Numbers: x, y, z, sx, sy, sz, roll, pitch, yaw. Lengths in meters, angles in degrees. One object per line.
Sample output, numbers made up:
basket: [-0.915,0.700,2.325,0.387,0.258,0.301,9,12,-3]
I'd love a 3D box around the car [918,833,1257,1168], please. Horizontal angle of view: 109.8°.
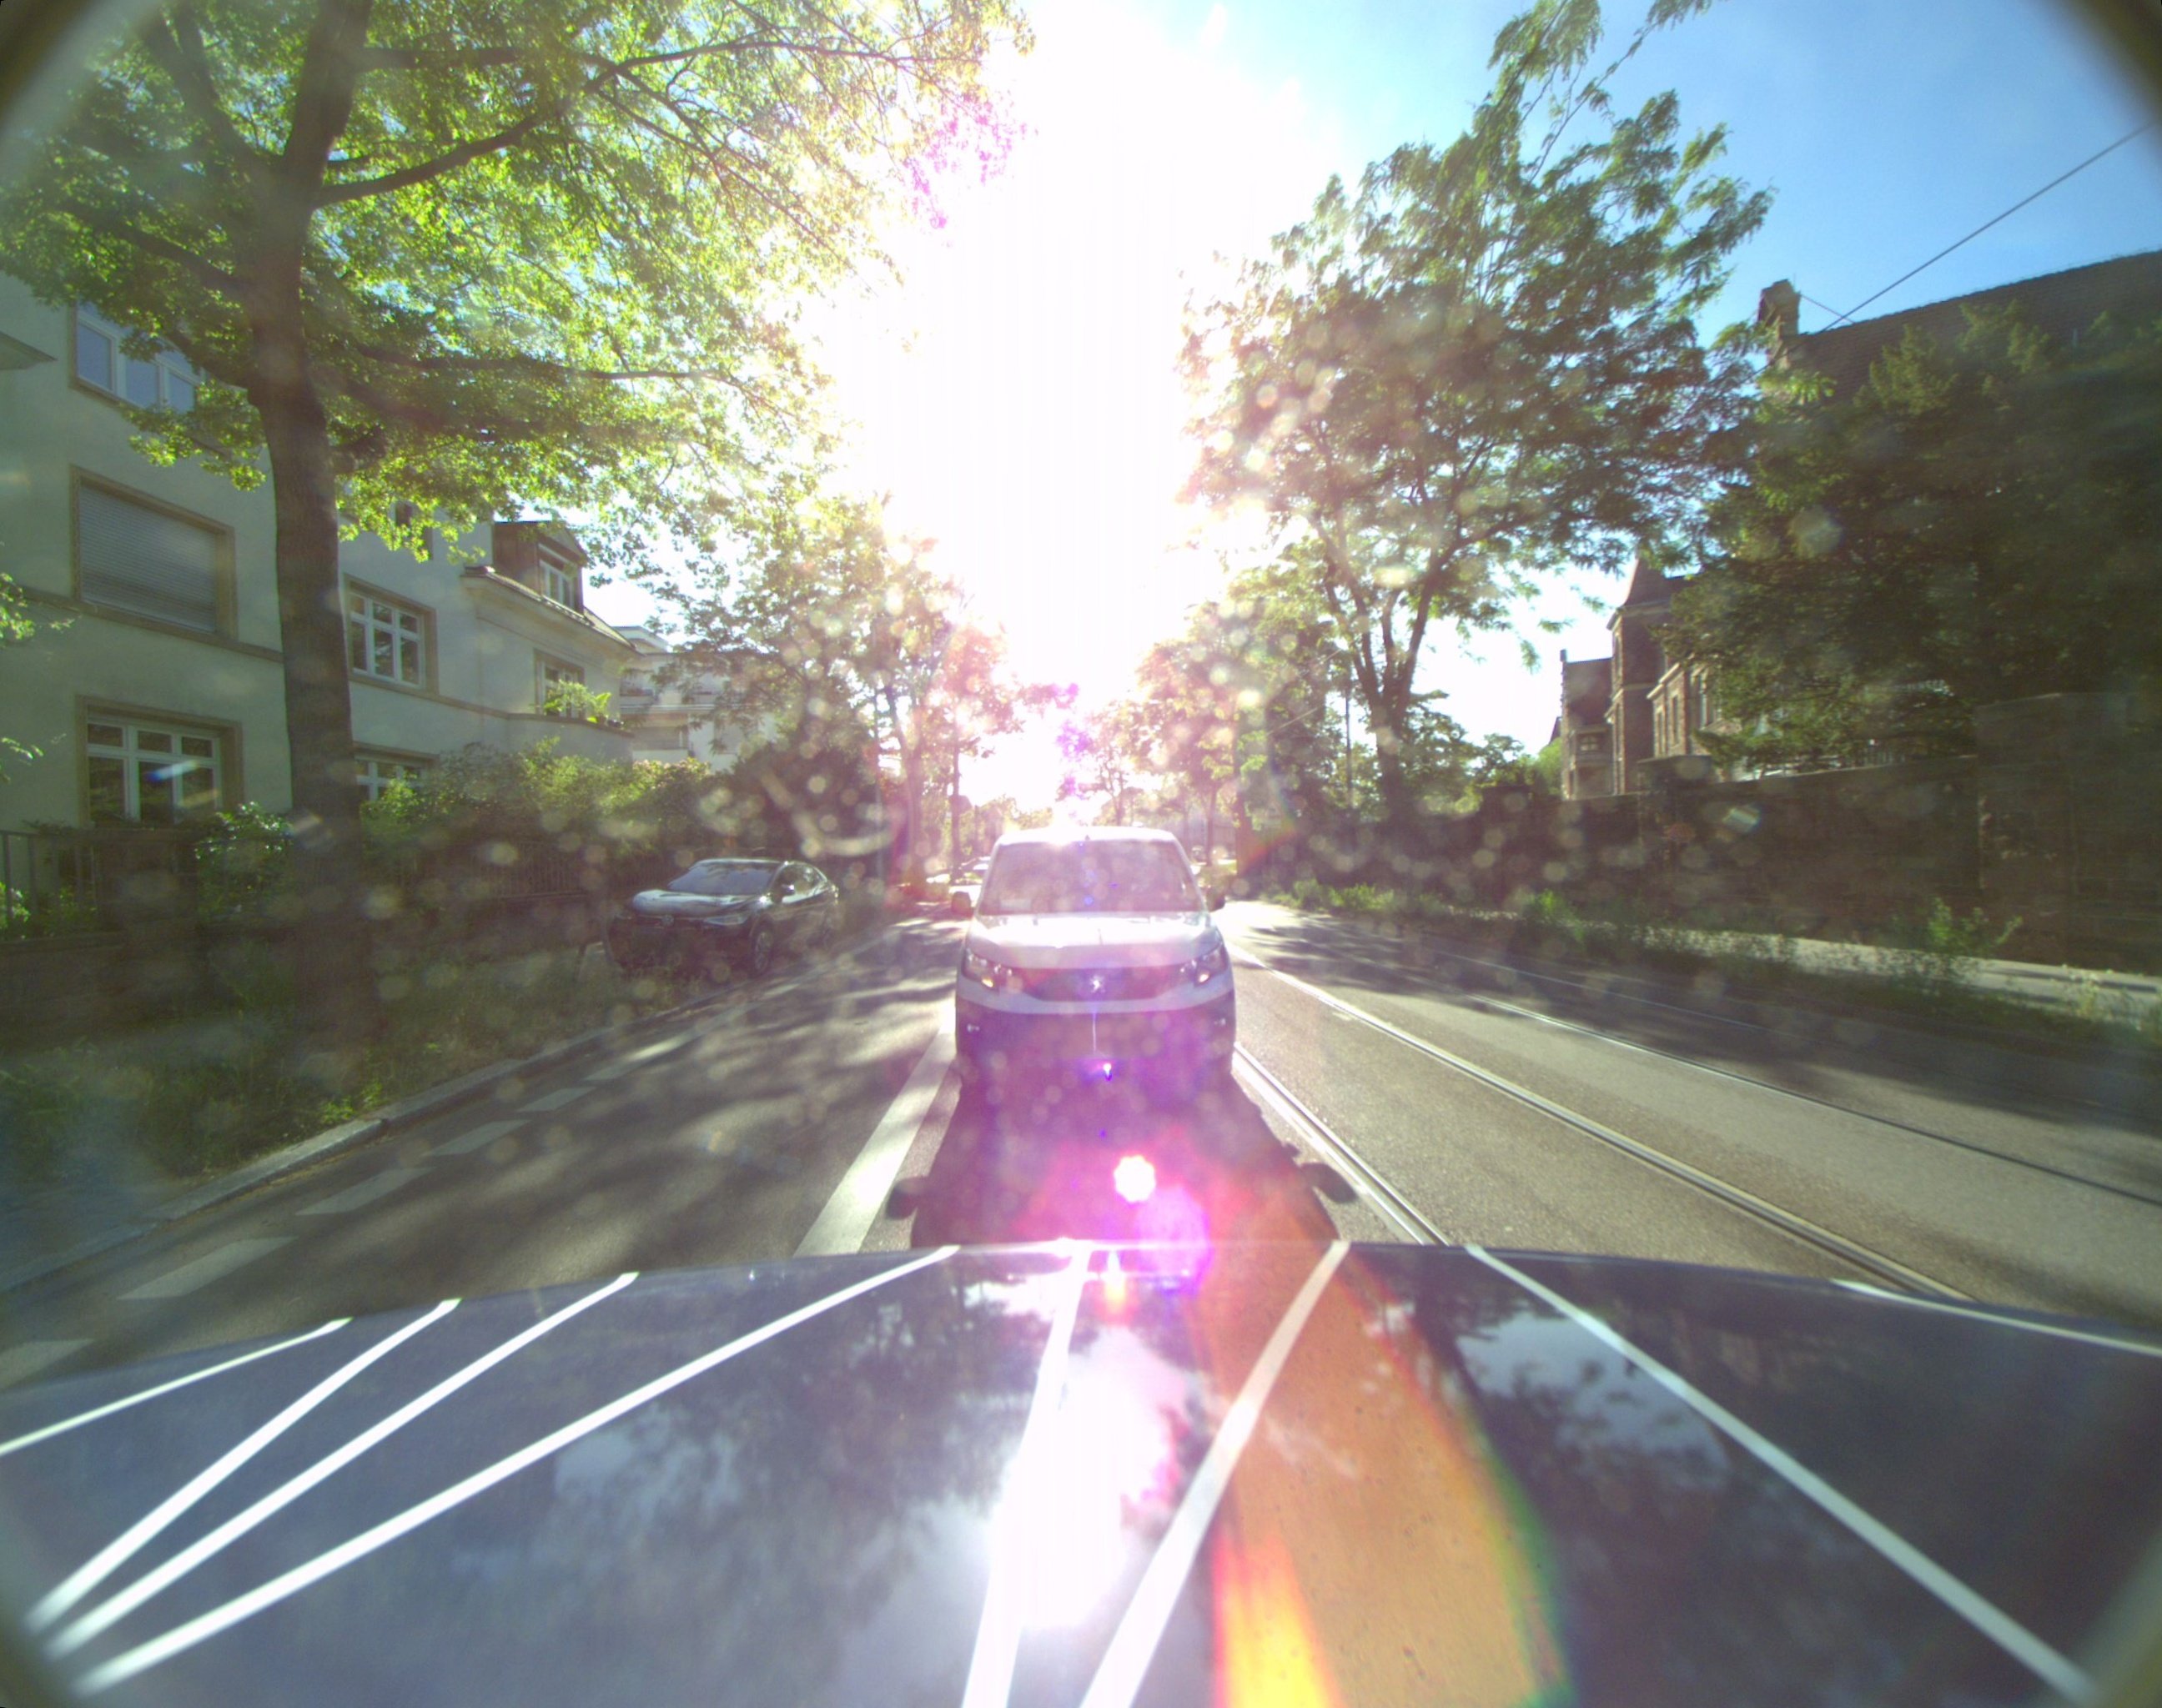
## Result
car: [0.055,0.789,6.508,1.793,1.770,4.786,-2,0,0]

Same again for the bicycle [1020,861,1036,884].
bicycle: [-2.809,0.971,40.168,0.644,1.137,1.902,-1,0,1]

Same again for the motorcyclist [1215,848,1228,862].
motorcyclist: [13.443,0.090,72.625,0.889,1.375,0.910,-1,1,36]

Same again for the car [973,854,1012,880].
car: [-5.240,0.758,45.459,1.787,1.443,4.000,-2,0,1]

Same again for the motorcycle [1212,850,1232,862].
motorcycle: [13.457,0.190,72.626,0.912,1.146,2.433,-1,0,36]

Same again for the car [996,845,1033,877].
car: [-4.487,0.437,51.924,1.998,2.002,4.583,-2,0,1]

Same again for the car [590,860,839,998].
car: [-5.166,0.948,11.414,1.743,1.597,4.091,2,0,-1]

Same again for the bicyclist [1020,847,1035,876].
bicyclist: [-2.832,0.409,40.174,0.645,1.479,1.115,-2,1,1]
